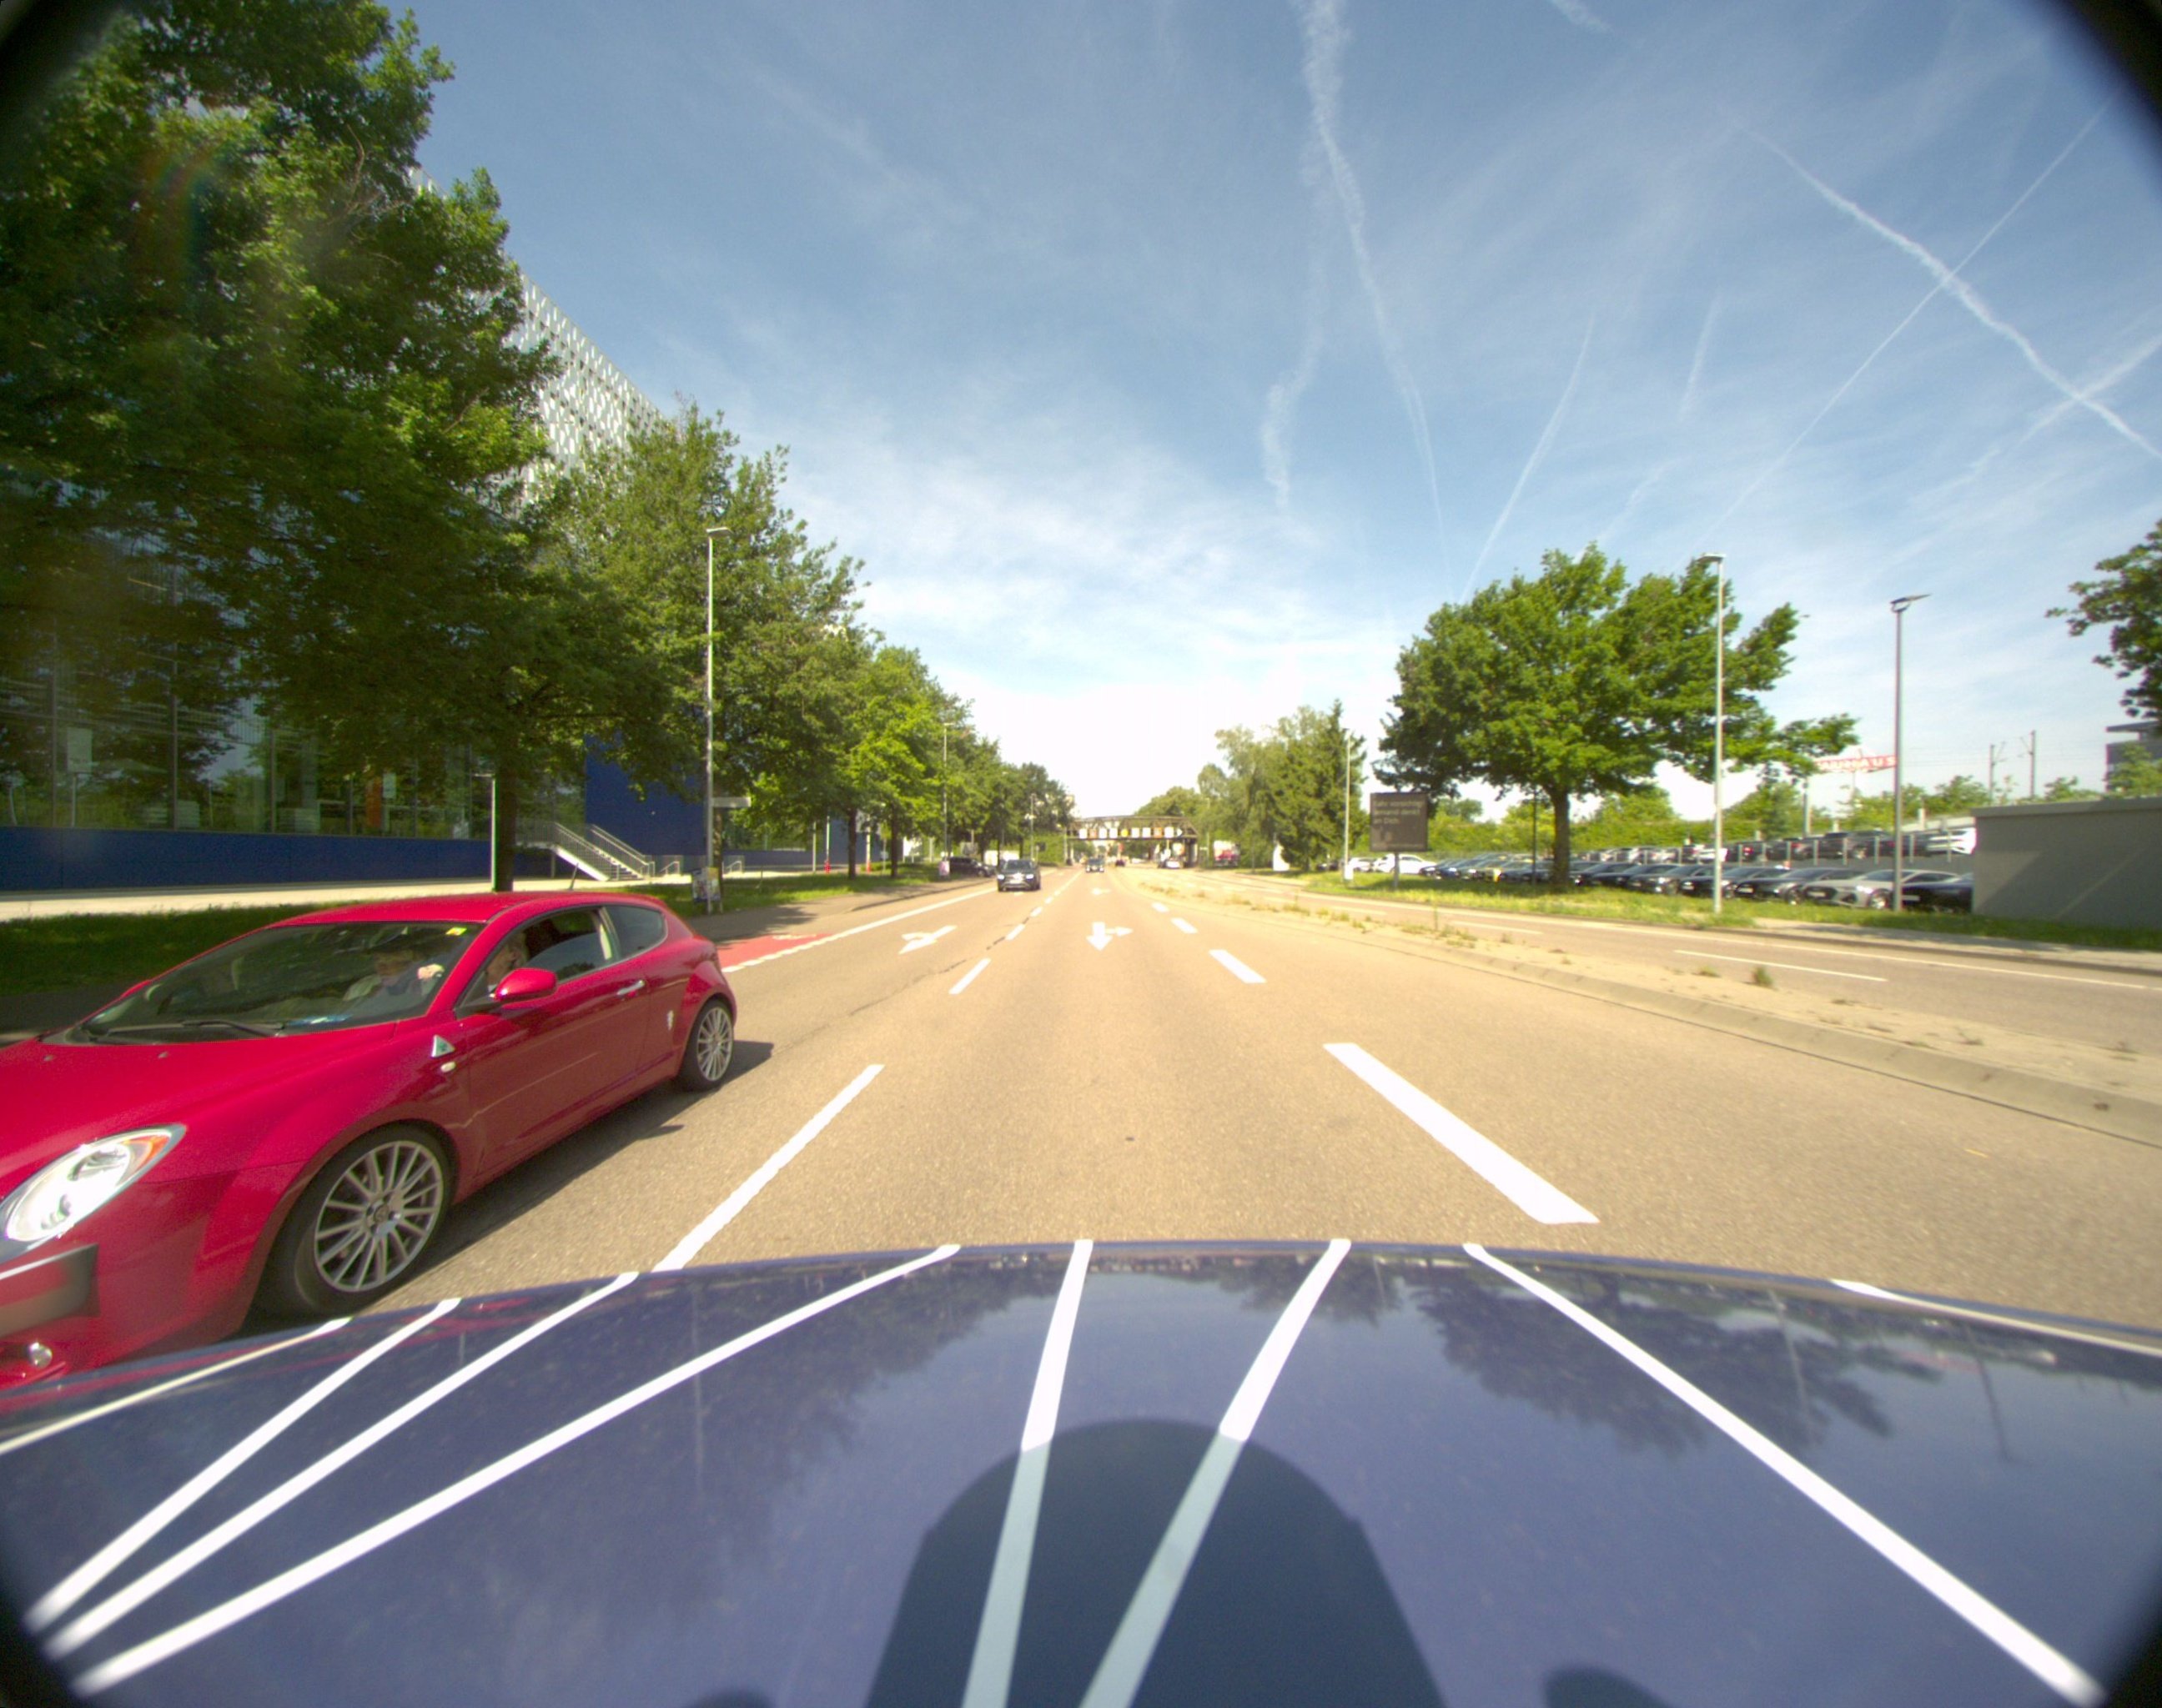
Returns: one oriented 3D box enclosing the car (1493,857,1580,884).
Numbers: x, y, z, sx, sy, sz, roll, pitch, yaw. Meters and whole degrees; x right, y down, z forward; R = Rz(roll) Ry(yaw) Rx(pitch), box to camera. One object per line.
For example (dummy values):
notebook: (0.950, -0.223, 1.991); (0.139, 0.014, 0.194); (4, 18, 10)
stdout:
car: (24.603, 0.867, 41.123); (3.603, 1.277, 1.865); (2, 0, -1)

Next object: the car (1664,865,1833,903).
car: (24.340, 1.071, 27.828); (4.511, 1.282, 1.919); (1, 0, -1)

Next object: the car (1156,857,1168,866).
car: (14.407, 1.314, 134.558); (1.702, 1.510, 4.027); (2, 0, 1)

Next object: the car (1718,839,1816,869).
car: (40.517, -0.023, 44.950); (4.279, 1.695, 1.664); (0, 0, -1)

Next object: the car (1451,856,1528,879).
car: (24.765, 0.807, 46.137); (3.752, 1.277, 1.663); (2, 0, -1)

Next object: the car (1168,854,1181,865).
car: (14.864, 0.879, 120.947); (1.998, 1.608, 4.105); (2, 0, 5)

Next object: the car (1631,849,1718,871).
car: (40.739, 0.428, 52.237); (4.511, 1.410, 1.891); (-1, 0, -1)

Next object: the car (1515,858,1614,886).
car: (24.486, 0.888, 38.572); (3.689, 1.277, 1.985); (2, 0, -1)

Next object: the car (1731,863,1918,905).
car: (24.391, 0.956, 25.032); (4.511, 1.282, 1.691); (1, 0, -1)

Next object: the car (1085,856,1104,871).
car: (1.395, 0.963, 77.540); (1.888, 1.427, 4.000); (-1, 0, 1)

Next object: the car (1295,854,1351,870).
car: (23.181, 0.760, 72.819); (4.698, 1.381, 2.000); (-1, 0, 1)

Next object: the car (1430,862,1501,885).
car: (24.621, 1.225, 48.734); (3.603, 1.277, 1.744); (2, 0, -1)

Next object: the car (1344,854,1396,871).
car: (24.579, 0.741, 64.719); (3.689, 1.363, 1.816); (-1, 0, 1)

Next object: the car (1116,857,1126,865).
car: (7.643, 1.431, 146.808); (1.785, 1.438, 4.120); (1, 0, 1)

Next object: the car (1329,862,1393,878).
car: (24.718, 1.390, 67.146); (4.863, 1.261, 2.000); (-1, 0, 1)

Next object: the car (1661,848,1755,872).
car: (40.853, 0.388, 49.600); (4.511, 1.476, 1.979); (1, 0, -1)

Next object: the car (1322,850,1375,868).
car: (24.702, 0.480, 70.289); (4.224, 1.537, 2.000); (-1, 0, 1)

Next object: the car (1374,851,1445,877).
car: (24.574, 0.737, 56.980); (4.474, 1.864, 2.000); (-1, 0, 2)

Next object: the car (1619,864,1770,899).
car: (24.593, 1.096, 30.572); (4.511, 1.282, 1.919); (1, 0, -1)

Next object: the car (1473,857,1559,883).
car: (24.892, 0.917, 43.568); (3.897, 1.332, 1.840); (2, 0, -1)

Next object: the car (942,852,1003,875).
car: (-8.595, 0.729, 60.285); (4.452, 1.684, 1.845); (1, 1, 8)

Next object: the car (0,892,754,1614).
car: (-3.391, 1.037, 3.708); (1.798, 1.446, 3.979); (-1, 1, 1)

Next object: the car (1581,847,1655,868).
car: (40.671, 0.261, 57.630); (4.213, 1.468, 2.000); (-1, 0, -2)

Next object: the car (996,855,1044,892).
car: (-2.907, 0.907, 36.968); (1.824, 1.632, 4.113); (-1, 0, 2)

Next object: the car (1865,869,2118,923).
car: (24.200, 1.087, 20.320); (4.511, 1.282, 1.919); (1, 0, -1)

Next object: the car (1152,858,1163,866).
car: (14.466, 1.560, 143.962); (1.639, 1.379, 4.318); (1, 0, 1)

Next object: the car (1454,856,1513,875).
car: (35.263, 1.003, 66.609); (4.253, 1.555, 1.805); (-1, 0, 0)

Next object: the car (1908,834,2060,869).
car: (40.626, -0.115, 34.257); (4.511, 1.476, 1.979); (1, 0, -1)

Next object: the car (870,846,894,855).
car: (-37.983, -0.731, 145.032); (4.292, 1.629, 1.860); (-1, 0, 30)

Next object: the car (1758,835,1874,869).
car: (40.677, -0.127, 42.105); (4.511, 1.805, 1.979); (0, 0, -1)

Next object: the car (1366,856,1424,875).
car: (25.795, 0.923, 62.517); (3.995, 1.477, 1.848); (-1, 0, 5)

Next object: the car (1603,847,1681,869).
car: (40.573, 0.284, 55.032); (4.213, 1.468, 2.000); (-1, 0, -2)

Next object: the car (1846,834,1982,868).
car: (40.555, -0.150, 37.072); (4.511, 1.542, 1.979); (1, 0, -1)

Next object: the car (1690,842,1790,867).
car: (40.929, 0.030, 47.257); (4.511, 1.476, 1.979); (1, 0, -1)

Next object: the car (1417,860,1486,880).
car: (24.925, 1.081, 51.247); (3.801, 1.277, 1.744); (-1, 0, -1)

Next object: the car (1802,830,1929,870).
car: (40.482, -0.200, 39.284); (4.511, 1.951, 1.979); (0, 0, -1)

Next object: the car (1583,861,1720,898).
car: (24.668, 1.087, 32.983); (4.511, 1.467, 1.919); (1, 0, -1)

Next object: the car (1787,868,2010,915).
car: (24.305, 1.092, 22.720); (4.511, 1.282, 2.004); (1, 0, -1)
